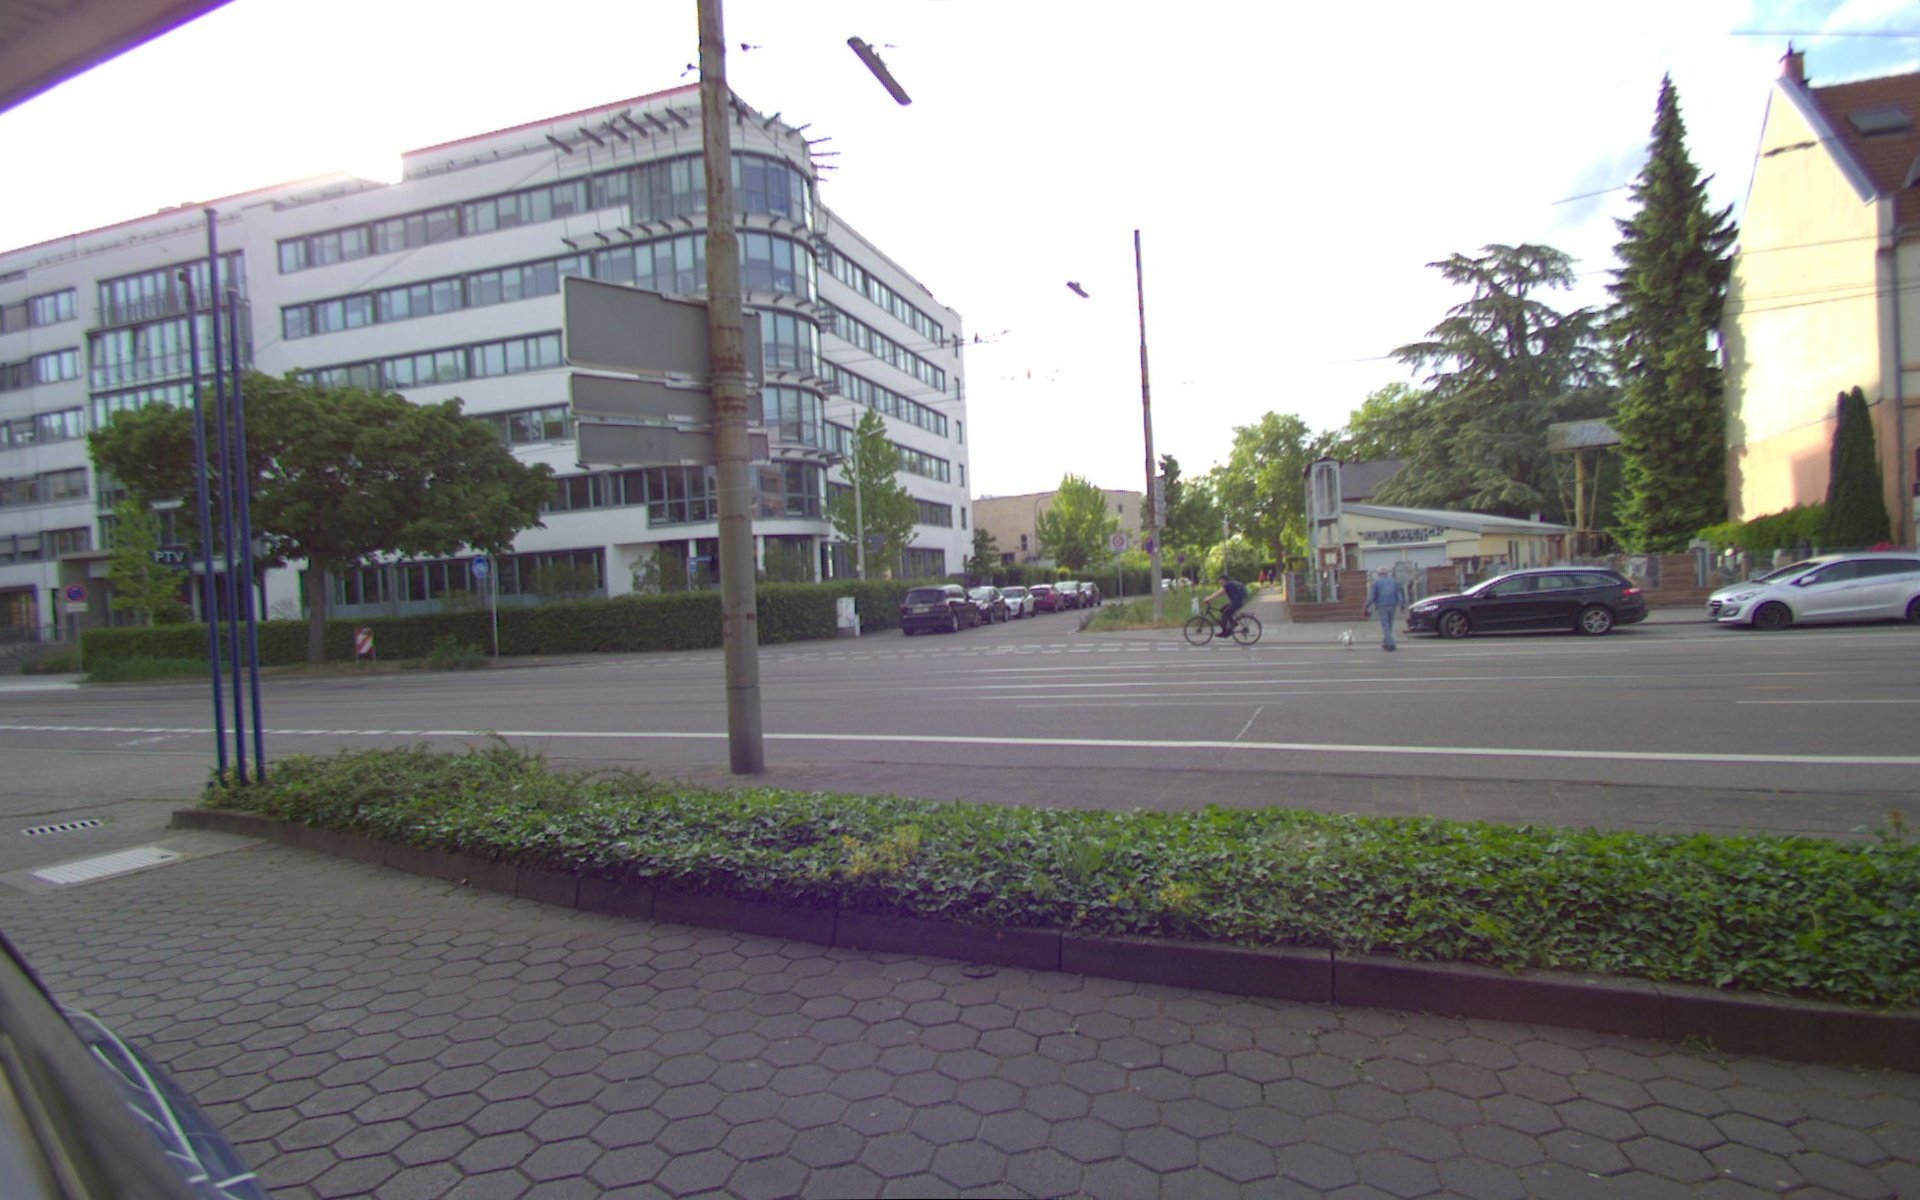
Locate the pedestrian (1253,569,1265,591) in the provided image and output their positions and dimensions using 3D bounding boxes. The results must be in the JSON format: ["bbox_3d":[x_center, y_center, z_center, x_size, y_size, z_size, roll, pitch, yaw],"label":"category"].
[{"bbox_3d":[26.133,-1.778,88.567,0.965,1.896,1.056,-1,0,17],"label":"pedestrian"}]

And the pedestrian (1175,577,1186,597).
[{"bbox_3d":[22.222,-1.309,102.039,0.967,1.896,1.054,-1,0,22],"label":"pedestrian"}]

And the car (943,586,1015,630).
[{"bbox_3d":[0.834,0.281,40.970,1.807,1.589,4.175,-4,0,16],"label":"car"}]

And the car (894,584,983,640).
[{"bbox_3d":[-0.684,0.366,35.555,1.807,1.701,4.370,-4,1,16],"label":"car"}]

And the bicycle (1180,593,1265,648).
[{"bbox_3d":[6.186,0.485,23.852,1.866,1.248,0.787,-1,0,17],"label":"bicycle"}]

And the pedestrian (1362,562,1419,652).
[{"bbox_3d":[8.552,0.137,20.128,0.903,1.713,0.919,-3,0,20],"label":"pedestrian"}]

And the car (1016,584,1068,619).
[{"bbox_3d":[4.303,0.039,52.396,1.807,1.589,4.175,-4,0,16],"label":"car"}]

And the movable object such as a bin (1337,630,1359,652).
[{"bbox_3d":[8.034,0.847,20.948,0.364,0.397,0.659,-3,0,18],"label":"movable object such as a bin"}]

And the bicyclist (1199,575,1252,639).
[{"bbox_3d":[6.258,0.158,23.818,1.166,1.462,0.787,-1,0,17],"label":"bicyclist"}]

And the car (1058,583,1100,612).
[{"bbox_3d":[7.389,-0.192,62.560,1.807,1.586,4.052,-4,0,16],"label":"car"}]

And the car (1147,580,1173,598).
[{"bbox_3d":[19.962,-1.097,100.896,1.811,1.654,4.044,-4,0,22],"label":"car"}]

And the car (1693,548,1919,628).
[{"bbox_3d":[18.409,-0.264,21.386,4.349,1.493,1.732,-3,0,22],"label":"car"}]

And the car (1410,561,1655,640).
[{"bbox_3d":[13.016,0.012,23.356,4.632,1.533,1.842,-3,2,22],"label":"car"}]

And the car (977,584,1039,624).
[{"bbox_3d":[2.227,0.165,45.674,1.807,1.589,4.175,-4,0,16],"label":"car"}]

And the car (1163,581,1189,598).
[{"bbox_3d":[22.839,-1.114,106.843,1.813,1.654,4.040,-4,0,25],"label":"car"}]

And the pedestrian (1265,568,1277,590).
[{"bbox_3d":[27.106,-1.790,88.276,0.965,1.896,1.056,-1,0,17],"label":"pedestrian"}]

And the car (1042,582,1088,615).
[{"bbox_3d":[6.034,-0.117,57.794,1.807,1.704,4.392,-4,0,16],"label":"car"}]
